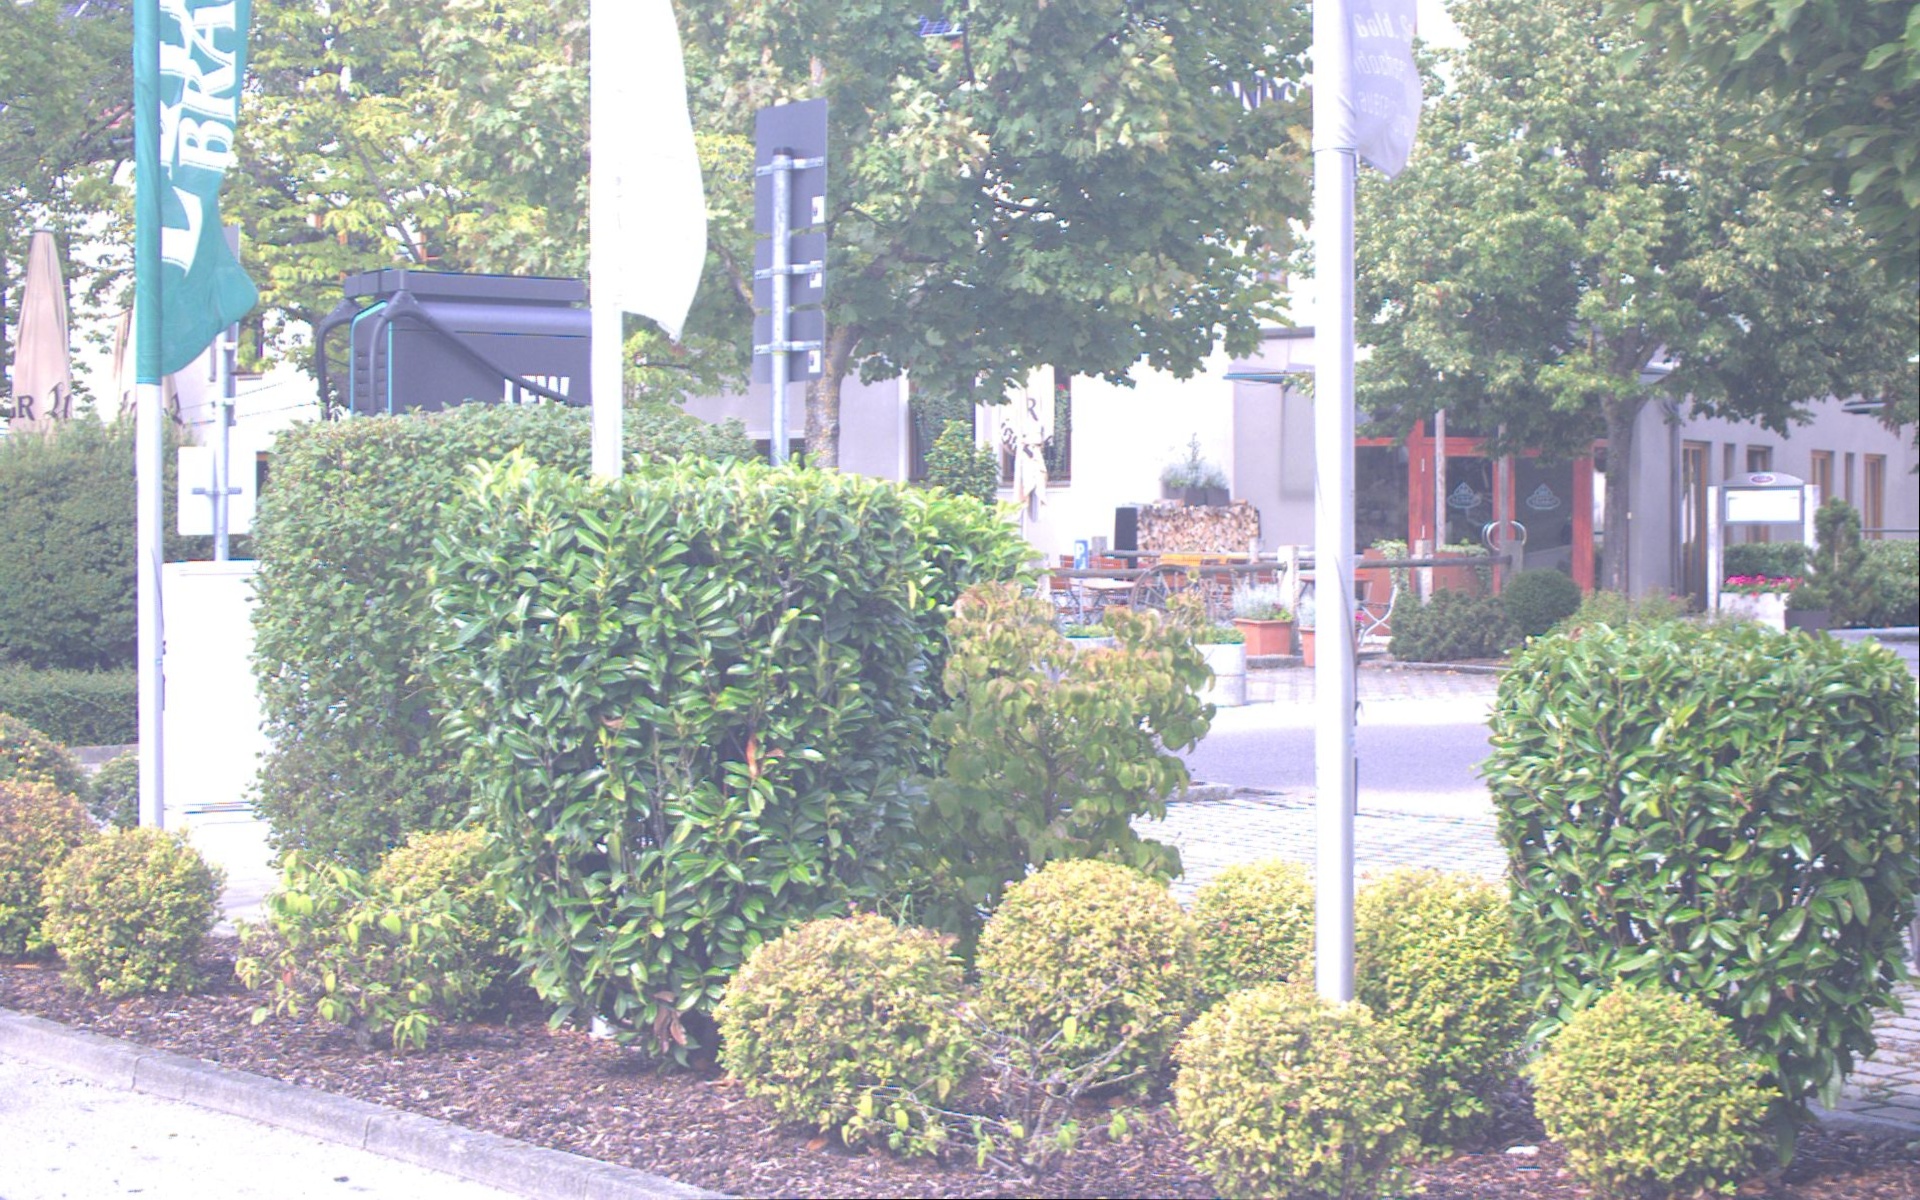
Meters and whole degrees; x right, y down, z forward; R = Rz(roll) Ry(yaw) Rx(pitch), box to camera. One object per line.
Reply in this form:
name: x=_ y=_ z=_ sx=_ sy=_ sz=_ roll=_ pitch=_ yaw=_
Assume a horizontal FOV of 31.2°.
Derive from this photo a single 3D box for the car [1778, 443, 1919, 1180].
car: x=4.491 y=0.422 z=8.508 sx=4.664 sy=1.690 sz=1.919 roll=-2 pitch=1 yaw=-28
